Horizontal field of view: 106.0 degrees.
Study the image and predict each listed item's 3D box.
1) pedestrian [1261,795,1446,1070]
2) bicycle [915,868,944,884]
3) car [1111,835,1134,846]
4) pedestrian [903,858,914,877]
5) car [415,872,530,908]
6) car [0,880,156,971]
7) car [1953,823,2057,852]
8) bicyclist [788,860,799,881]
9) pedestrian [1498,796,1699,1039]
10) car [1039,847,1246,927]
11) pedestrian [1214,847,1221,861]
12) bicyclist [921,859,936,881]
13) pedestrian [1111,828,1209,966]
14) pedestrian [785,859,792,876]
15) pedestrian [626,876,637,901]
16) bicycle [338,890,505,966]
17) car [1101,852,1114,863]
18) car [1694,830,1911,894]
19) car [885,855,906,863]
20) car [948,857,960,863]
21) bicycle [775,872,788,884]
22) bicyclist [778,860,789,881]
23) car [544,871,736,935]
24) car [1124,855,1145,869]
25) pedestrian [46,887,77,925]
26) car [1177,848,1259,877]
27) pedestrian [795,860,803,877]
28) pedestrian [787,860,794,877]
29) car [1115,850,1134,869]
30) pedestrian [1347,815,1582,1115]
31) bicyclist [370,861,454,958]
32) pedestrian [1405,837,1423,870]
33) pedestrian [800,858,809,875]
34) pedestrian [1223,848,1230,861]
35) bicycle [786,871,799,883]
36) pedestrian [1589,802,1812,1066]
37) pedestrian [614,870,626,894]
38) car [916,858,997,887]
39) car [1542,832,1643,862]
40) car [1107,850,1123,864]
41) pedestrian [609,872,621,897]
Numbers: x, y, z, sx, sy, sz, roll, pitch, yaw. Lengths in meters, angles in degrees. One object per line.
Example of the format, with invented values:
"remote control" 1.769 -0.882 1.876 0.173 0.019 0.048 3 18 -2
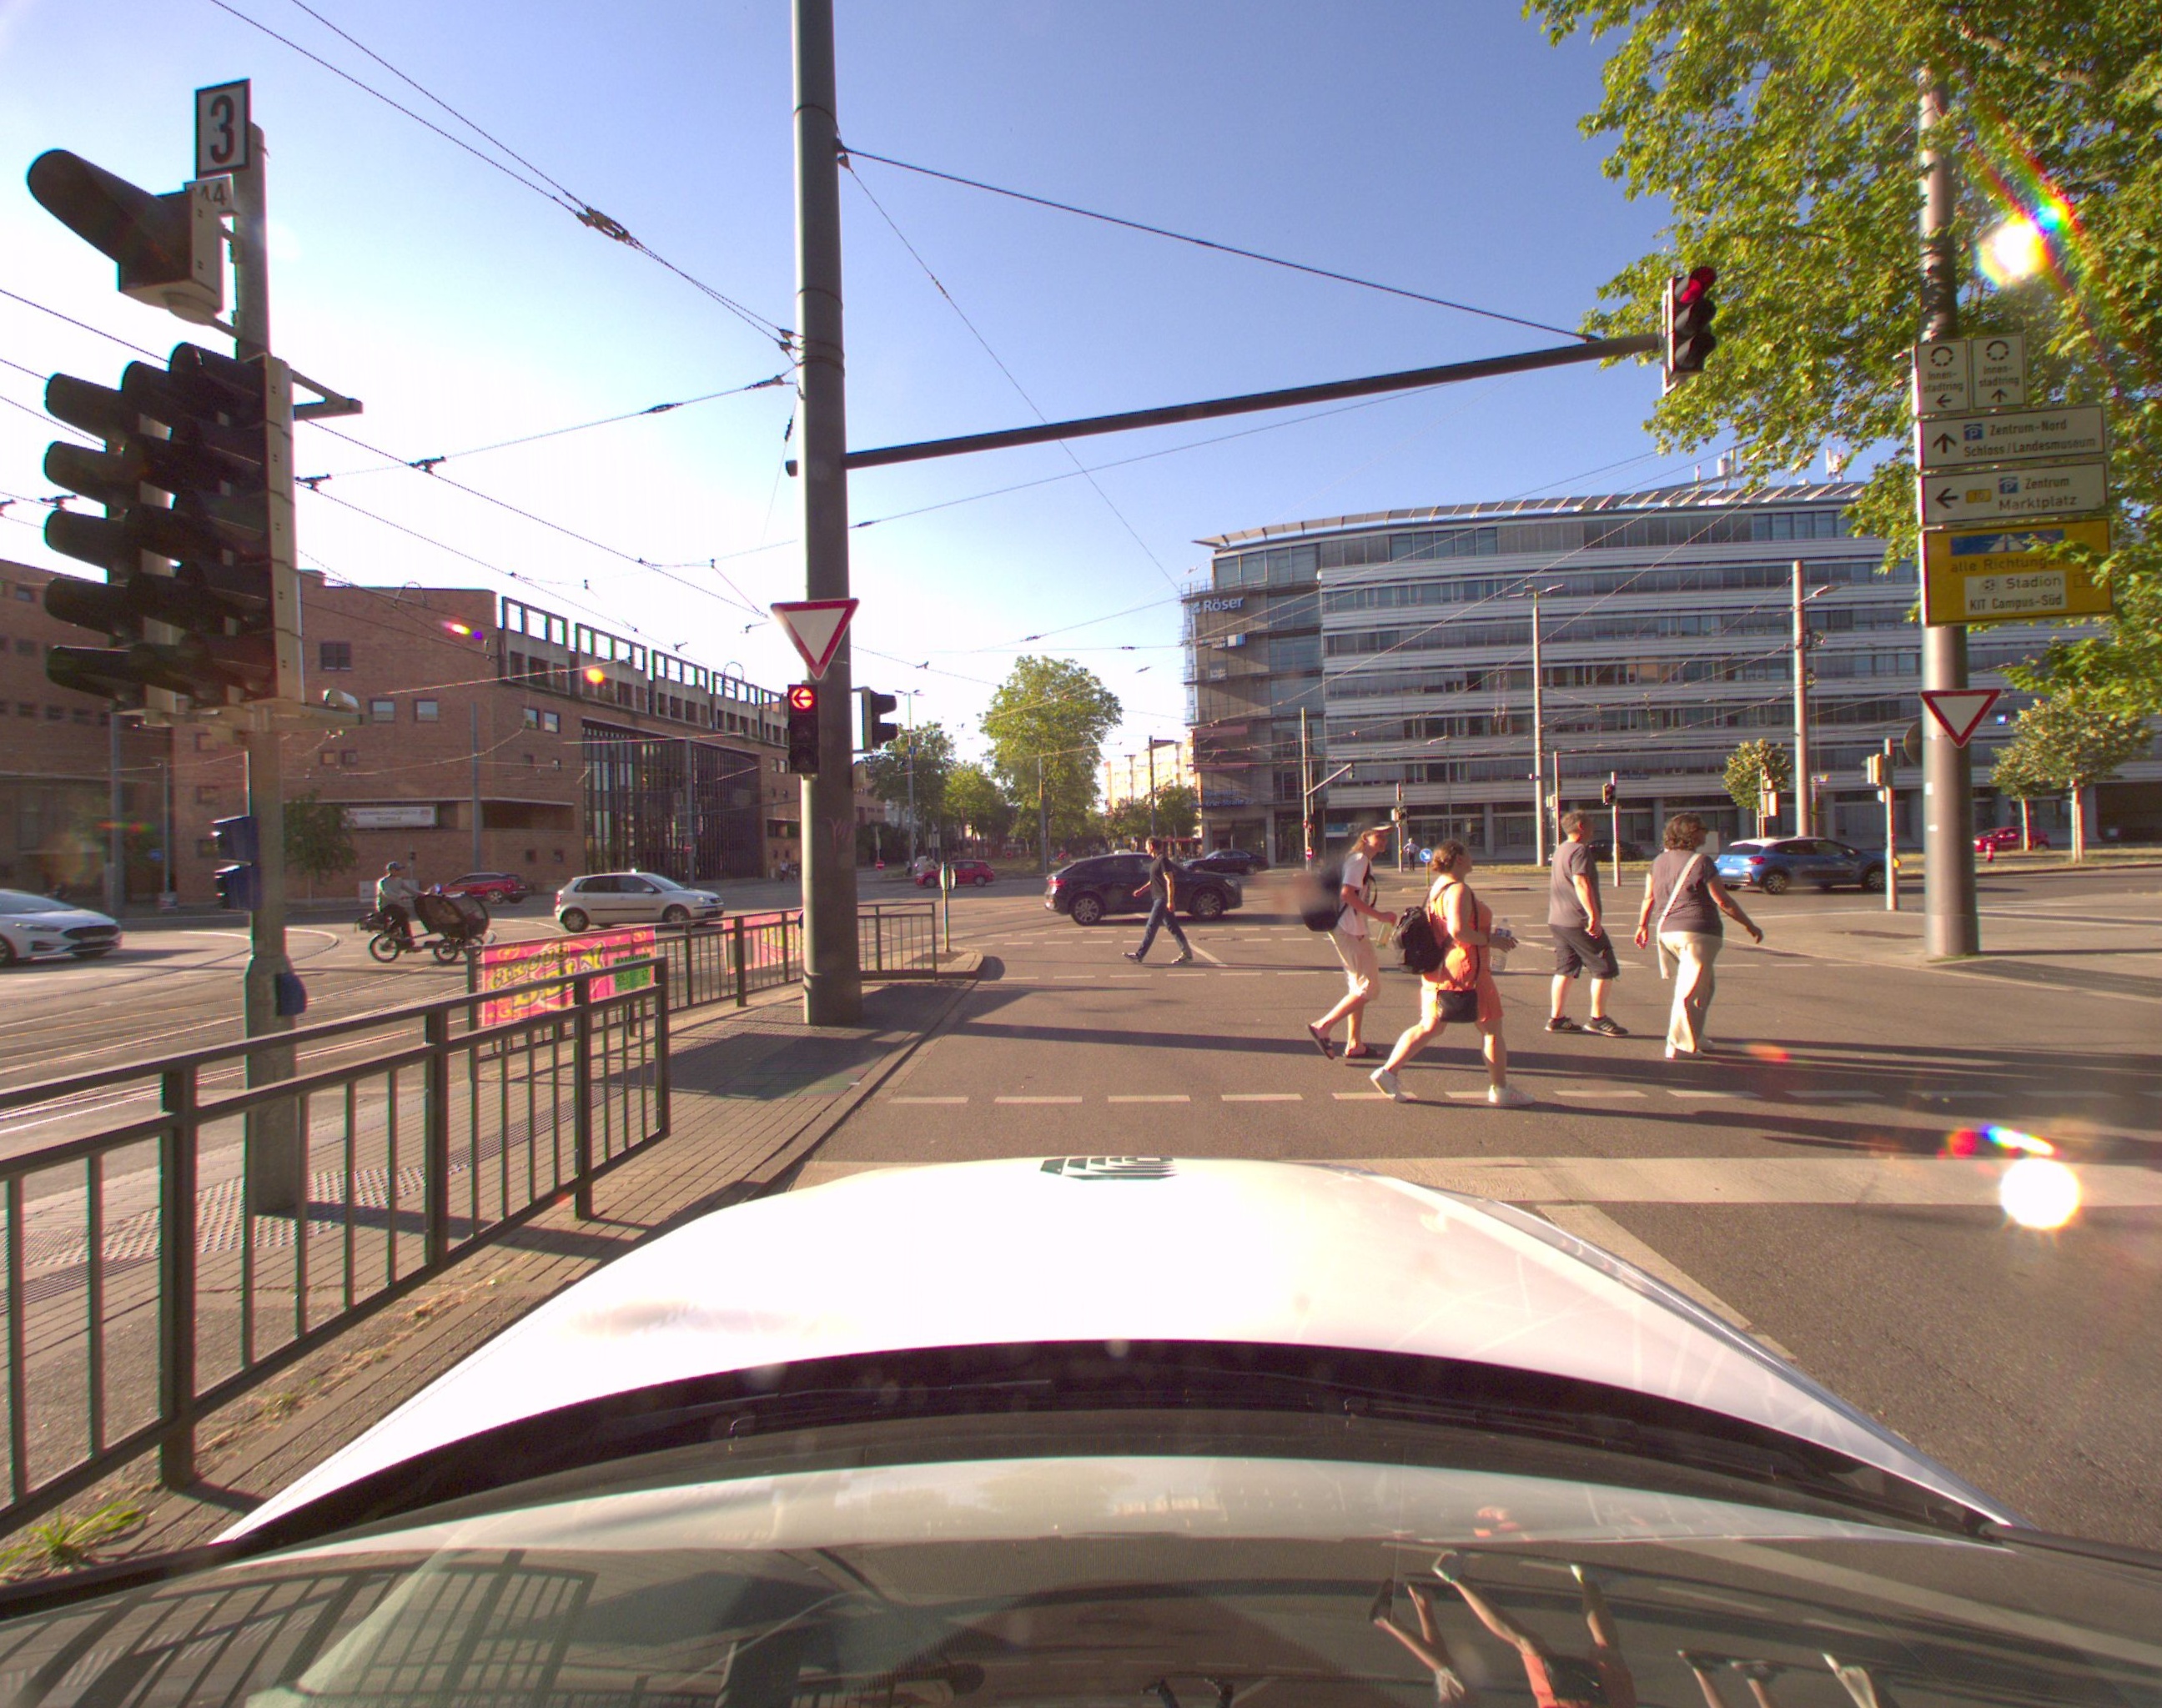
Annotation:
"pedestrian" 1.955 0.532 5.956 1.072 1.871 0.737 0 -1 -6
"bicycle" -9.454 1.377 50.841 1.746 0.899 0.406 -2 0 -18
"car" 7.223 -2.314 141.395 3.732 1.750 1.789 0 -1 16
"pedestrian" -13.408 1.047 63.271 0.753 1.530 0.507 -1 0 -6
"car" -30.848 1.797 41.410 4.240 1.602 1.790 -2 0 -9
"car" -23.261 1.526 17.161 4.829 1.727 1.995 -2 0 -7
"car" 52.100 -0.932 45.994 3.576 1.466 1.799 -2 0 7
"bicyclist" -23.504 1.377 66.675 0.592 1.675 0.788 -2 0 -4
"pedestrian" 4.294 0.498 6.828 1.143 1.894 0.831 0 -1 -6
"car" 1.324 0.712 18.592 4.469 1.583 1.824 -2 0 -2
"pedestrian" 14.931 0.027 88.922 0.734 1.465 0.538 -2 0 11
"bicyclist" -9.541 0.983 50.824 0.821 1.366 0.398 -2 0 -18
"pedestrian" 1.068 0.573 11.329 1.206 1.822 1.040 0 -1 -4
"pedestrian" -31.361 1.459 87.392 0.487 1.810 0.547 -2 0 9
"pedestrian" -30.965 2.371 56.107 0.538 1.650 0.622 -2 0 -17
"bicycle" -11.893 1.322 14.743 2.147 1.226 1.074 -1 1 4
"car" 4.138 0.526 126.907 1.986 1.662 4.002 -2 0 2
"car" 19.068 0.206 21.677 3.939 1.456 2.001 -2 0 1
"car" -39.327 1.072 172.411 4.011 1.552 1.592 0 -1 -29
"car" -34.101 1.551 218.903 1.982 1.508 4.011 -2 0 9
"bicycle" -24.415 1.942 66.330 0.512 0.881 1.835 -2 0 -6
"bicyclist" -24.272 1.379 66.438 0.592 1.675 0.788 -2 0 -4
"car" -11.295 1.222 21.073 3.900 1.434 1.823 -2 0 -4
"car" 5.433 0.830 82.971 1.986 1.332 4.002 -2 0 2
"pedestrian" -45.797 2.328 36.588 0.542 1.613 0.613 0 1 -3
"car" 7.748 0.475 46.154 4.238 1.434 1.790 -2 0 -8
"pedestrian" -29.773 1.502 86.085 0.519 1.779 0.547 -2 0 9
"pedestrian" -31.198 1.564 87.433 0.487 1.810 0.547 -2 0 9
"car" 4.743 0.632 89.833 1.986 1.991 4.002 -2 0 2
"pedestrian" 2.316 0.623 5.017 1.071 1.682 0.756 0 -1 -6
"bicyclist" -12.106 0.994 14.748 0.900 1.681 0.692 -2 0 5
"pedestrian" 17.323 -0.019 42.382 0.715 1.681 0.558 -1 0 9
"pedestrian" -29.671 1.361 87.450 0.637 1.810 0.547 -2 0 9
"pedestrian" 15.822 0.067 88.615 0.701 1.465 0.385 -2 0 11
"bicycle" -23.594 1.892 66.616 0.512 0.881 1.835 -2 0 -6
"pedestrian" 4.522 0.545 6.006 1.070 1.806 0.756 0 -1 -6
"pedestrian" -32.088 1.939 56.687 0.538 1.650 0.622 -3 0 -17
"car" -6.739 0.997 44.555 4.235 1.392 1.792 -2 0 -6
"car" 27.400 -0.365 43.740 4.219 1.392 1.799 -2 0 6
"car" 4.388 0.391 105.169 1.986 1.662 4.002 -2 0 2
"pedestrian" -31.506 2.068 55.016 0.538 1.650 0.622 -1 -1 -17
